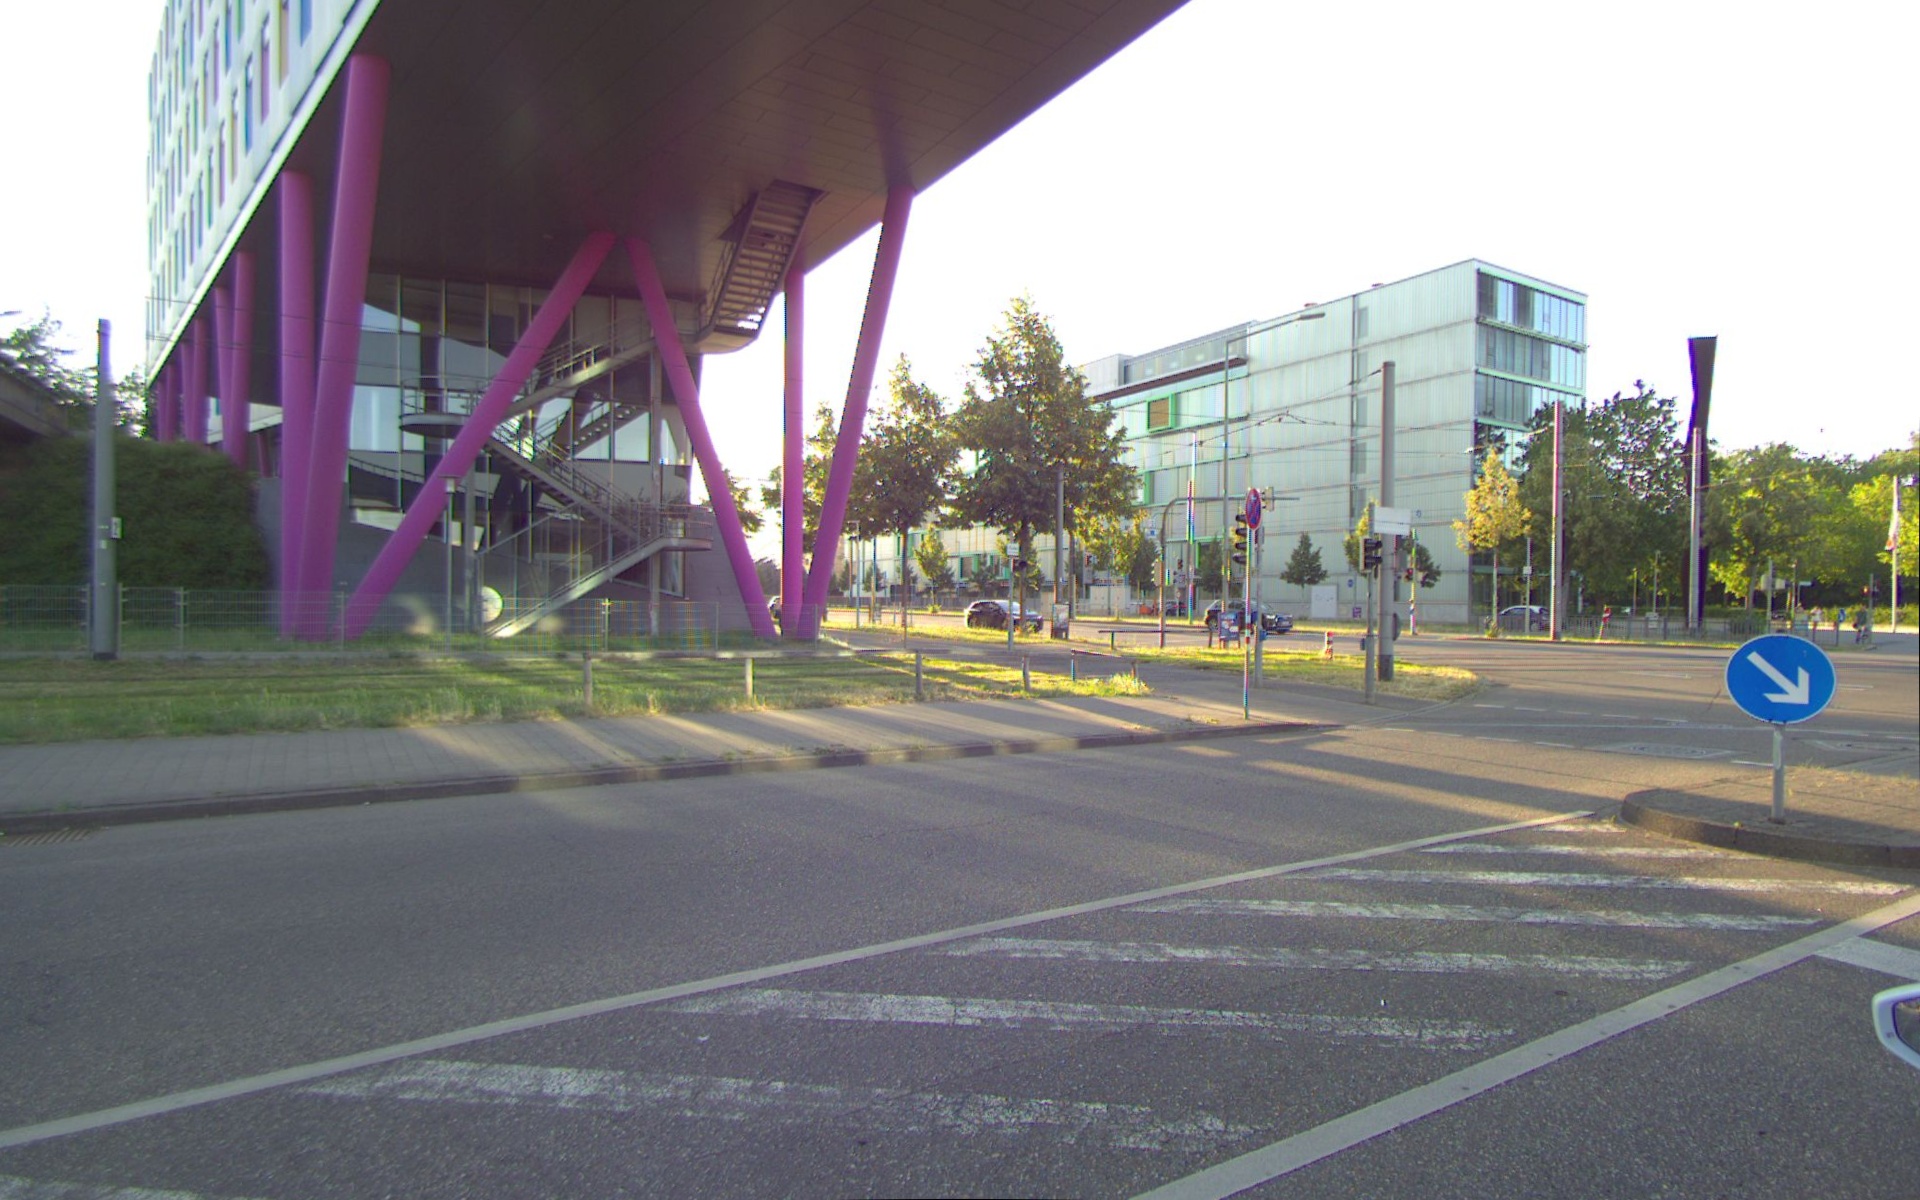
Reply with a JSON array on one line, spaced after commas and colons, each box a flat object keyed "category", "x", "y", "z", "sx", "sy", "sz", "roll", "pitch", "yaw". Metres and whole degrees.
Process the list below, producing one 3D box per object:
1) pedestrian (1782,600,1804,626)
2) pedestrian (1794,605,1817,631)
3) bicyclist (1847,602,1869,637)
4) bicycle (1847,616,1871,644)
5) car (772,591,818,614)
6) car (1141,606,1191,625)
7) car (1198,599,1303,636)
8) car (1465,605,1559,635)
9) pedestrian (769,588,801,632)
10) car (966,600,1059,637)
[{"category": "pedestrian", "x": 57.190, "y": 0.865, "z": 68.947, "sx": 0.813, "sy": 1.767, "sz": 0.863, "roll": 1, "pitch": 0, "yaw": 5}, {"category": "pedestrian", "x": 58.213, "y": 1.225, "z": 69.126, "sx": 0.814, "sy": 1.767, "sz": 0.863, "roll": 1, "pitch": 0, "yaw": -1}, {"category": "bicyclist", "x": 45.423, "y": 0.998, "z": 50.820, "sx": 0.741, "sy": 1.732, "sz": 0.916, "roll": 1, "pitch": 0, "yaw": 39}, {"category": "bicycle", "x": 45.252, "y": 1.485, "z": 50.590, "sx": 0.721, "sy": 1.359, "sz": 2.679, "roll": 1, "pitch": 0, "yaw": 38}, {"category": "car", "x": -11.905, "y": 0.183, "z": 72.323, "sx": 1.975, "sy": 1.595, "sz": 4.417, "roll": 1, "pitch": 0, "yaw": -27}, {"category": "car", "x": 17.381, "y": 1.300, "z": 85.045, "sx": 1.782, "sy": 1.516, "sz": 4.314, "roll": 2, "pitch": -1, "yaw": -28}, {"category": "car", "x": 13.300, "y": 0.794, "z": 46.200, "sx": 1.968, "sy": 1.577, "sz": 4.448, "roll": 1, "pitch": 0, "yaw": -34}, {"category": "car", "x": 30.625, "y": 1.084, "z": 55.815, "sx": 1.781, "sy": 1.516, "sz": 4.315, "roll": 2, "pitch": -1, "yaw": -27}, {"category": "pedestrian", "x": -7.117, "y": 0.414, "z": 40.884, "sx": 0.869, "sy": 1.747, "sz": 0.930, "roll": -2, "pitch": -2, "yaw": 36}, {"category": "car", "x": 2.421, "y": 0.829, "z": 47.734, "sx": 1.978, "sy": 1.636, "sz": 4.881, "roll": 1, "pitch": 0, "yaw": -32}]
